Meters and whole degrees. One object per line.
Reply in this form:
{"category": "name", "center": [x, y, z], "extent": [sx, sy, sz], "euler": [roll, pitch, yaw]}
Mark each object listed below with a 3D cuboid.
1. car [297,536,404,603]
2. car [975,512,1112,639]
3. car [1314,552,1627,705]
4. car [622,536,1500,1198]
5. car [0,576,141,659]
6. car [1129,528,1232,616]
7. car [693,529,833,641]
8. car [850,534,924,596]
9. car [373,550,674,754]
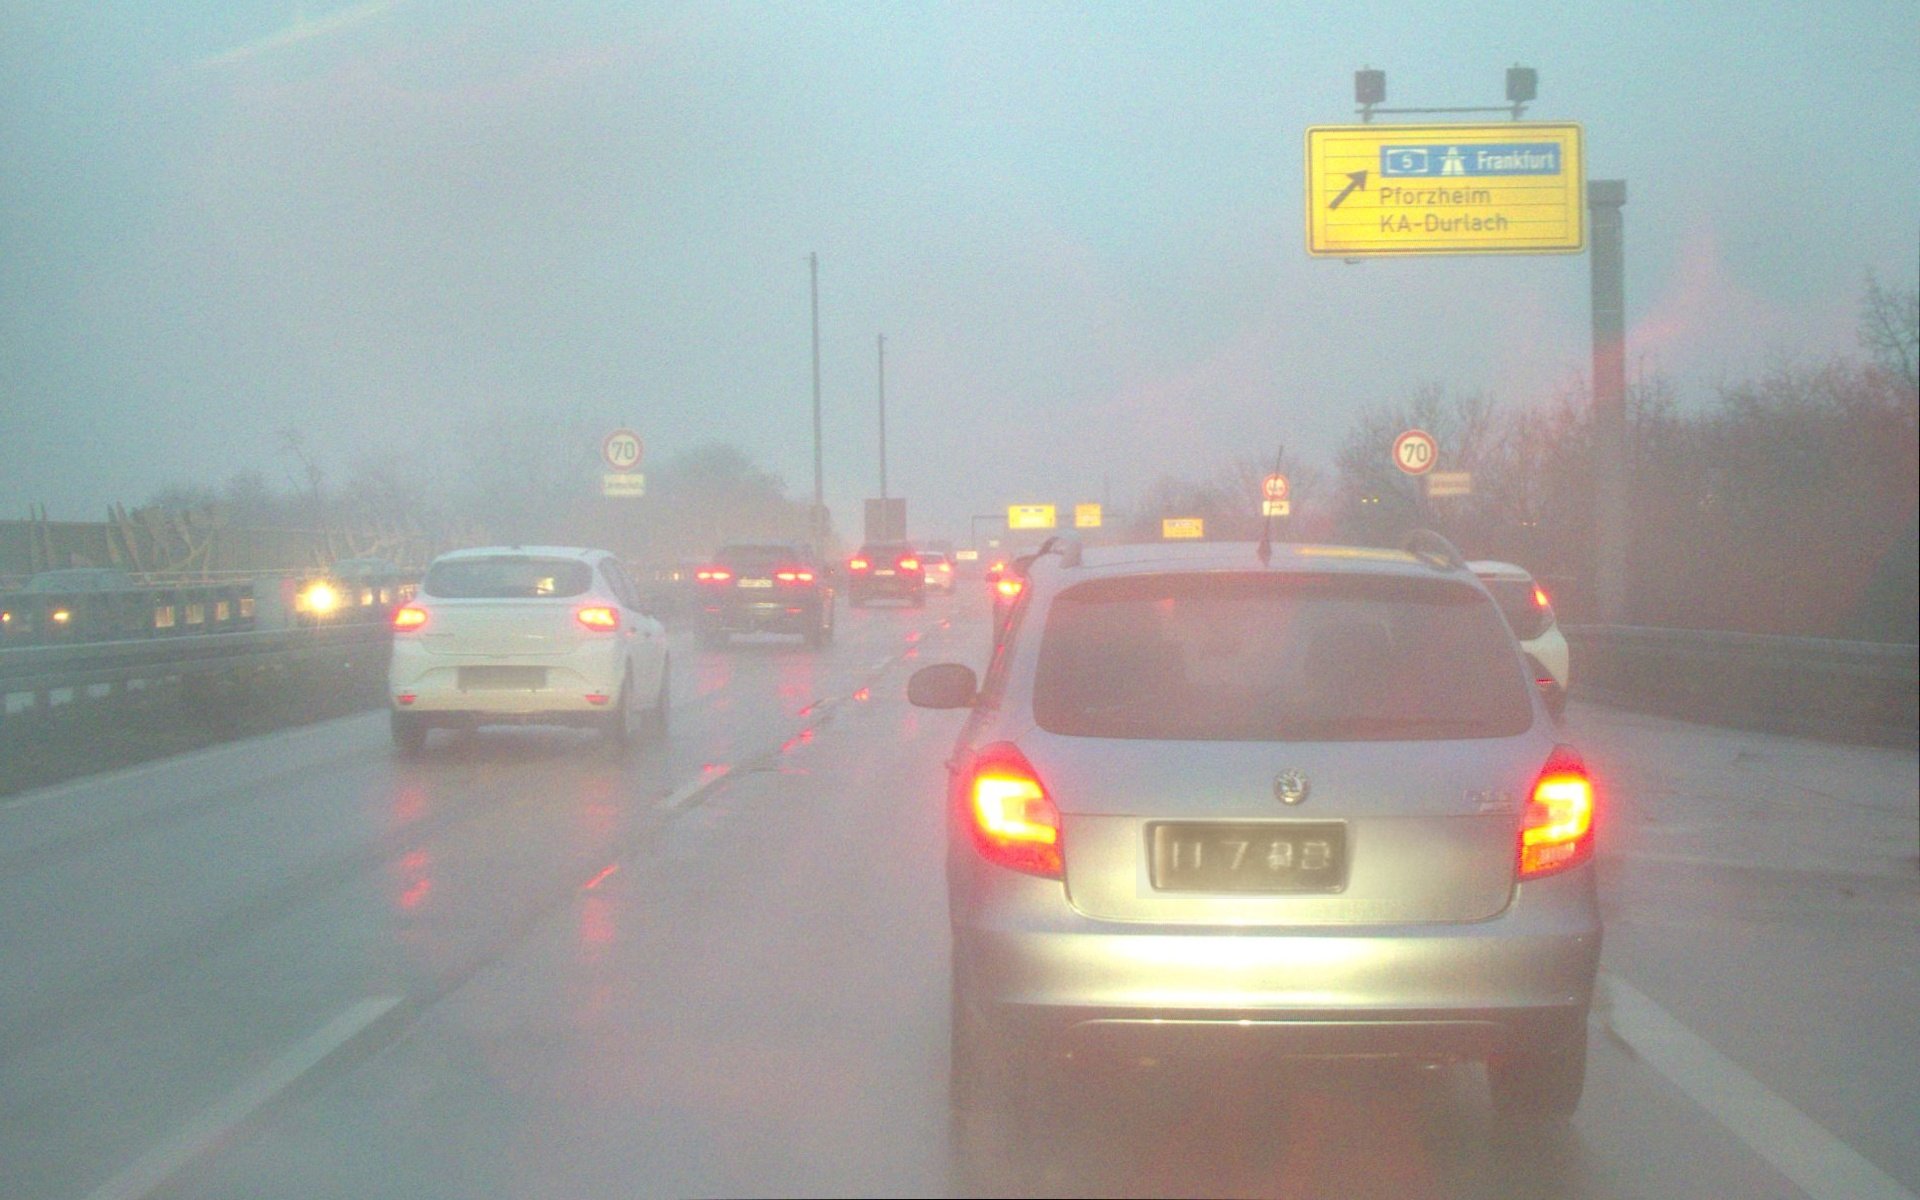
{"category": "car", "center": [-14.674, -0.763, 83.021], "extent": [1.786, 1.559, 4.852], "euler": [0, 1, -1]}
{"category": "car", "center": [1.172, -0.380, 50.110], "extent": [1.897, 1.761, 4.309], "euler": [0, 1, 0]}
{"category": "car", "center": [4.852, 0.227, 33.232], "extent": [1.993, 1.341, 4.001], "euler": [0, 1, -7]}
{"category": "car", "center": [0.276, 0.586, 9.944], "extent": [1.993, 1.495, 4.137], "euler": [-1, 1, 1]}
{"category": "car", "center": [-16.550, 0.290, 62.445], "extent": [1.786, 1.399, 4.308], "euler": [0, 1, 8]}
{"category": "car", "center": [4.028, -0.545, 63.304], "extent": [1.789, 1.540, 4.000], "euler": [-1, 1, 3]}
{"category": "car", "center": [-3.005, -0.263, 52.019], "extent": [1.993, 1.596, 4.309], "euler": [1, 1, -4]}
{"category": "car", "center": [-1.844, -0.907, 88.114], "extent": [1.789, 1.540, 4.000], "euler": [0, 1, 0]}
{"category": "car", "center": [-3.286, 0.339, 26.601], "extent": [1.724, 1.435, 4.226], "euler": [0, 1, 1]}
